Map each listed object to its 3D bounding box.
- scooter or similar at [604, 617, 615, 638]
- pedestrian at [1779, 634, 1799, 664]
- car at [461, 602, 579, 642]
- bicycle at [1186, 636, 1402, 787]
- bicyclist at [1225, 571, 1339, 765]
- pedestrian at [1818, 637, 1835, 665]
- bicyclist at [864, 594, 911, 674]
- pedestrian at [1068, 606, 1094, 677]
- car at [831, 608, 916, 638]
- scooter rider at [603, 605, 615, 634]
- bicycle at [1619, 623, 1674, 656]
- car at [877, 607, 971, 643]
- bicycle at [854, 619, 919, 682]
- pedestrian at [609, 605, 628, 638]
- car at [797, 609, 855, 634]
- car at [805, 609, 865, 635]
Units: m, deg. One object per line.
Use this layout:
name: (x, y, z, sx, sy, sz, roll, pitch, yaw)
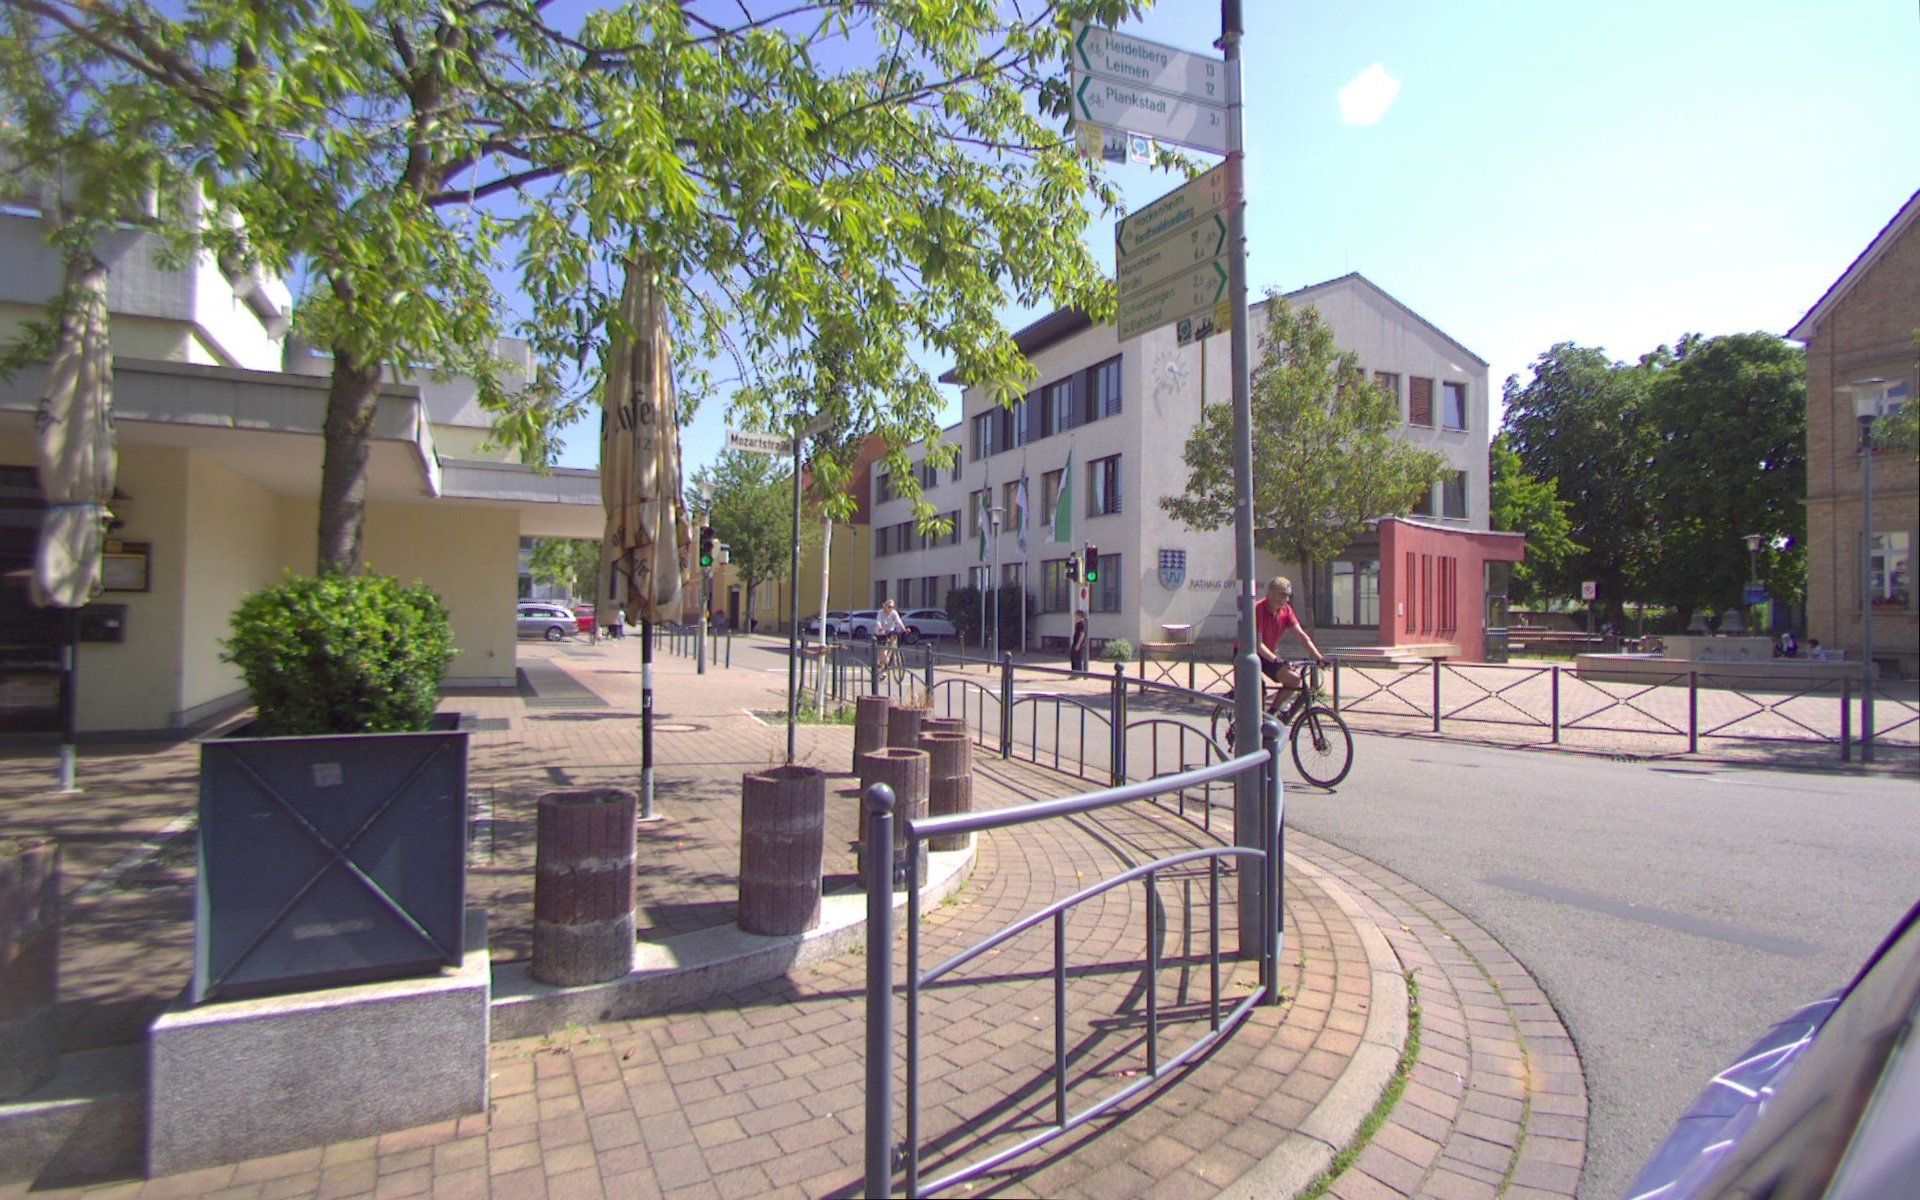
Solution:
scooter or similar: (-16.220, 1.267, 46.841, 0.403, 0.978, 0.961, 2, -2, -20)
pedestrian: (22.947, 1.358, 28.002, 0.355, 0.828, 0.367, 2, -2, -39)
car: (-18.397, 0.909, 42.397, 4.356, 1.484, 1.693, 3, -1, -28)
bicycle: (3.061, 0.979, 9.493, 0.723, 1.205, 1.974, 3, -2, -26)
bicyclist: (3.023, 0.605, 9.530, 0.689, 1.738, 0.761, 0, 0, -25)
pedestrian: (23.387, 1.373, 27.311, 0.351, 0.741, 0.289, 2, -2, -39)
bicyclist: (-1.498, 0.672, 20.743, 0.689, 1.601, 0.879, 0, 0, -25)
pedestrian: (2.877, 0.976, 24.060, 0.541, 1.639, 0.555, 1, 0, 12)
car: (-4.622, 1.184, 53.899, 4.237, 1.497, 1.516, -1, 0, -22)
scooter rider: (-16.217, 0.901, 46.800, 0.453, 1.342, 1.135, 2, -2, -21)
bicycle: (22.972, 1.311, 33.851, 1.913, 1.018, 0.581, -1, 0, -24)
car: (-1.643, 1.121, 46.170, 3.917, 1.567, 1.752, 0, -1, -24)
bicycle: (-1.525, 1.022, 20.773, 0.676, 1.205, 1.802, 2, -1, -26)
pedestrian: (-16.273, 1.012, 48.209, 0.504, 1.536, 1.047, 4, -3, -38)
car: (-8.032, 1.287, 60.512, 3.192, 1.419, 1.377, 0, -1, -24)
car: (-7.219, 1.252, 58.453, 3.075, 1.469, 1.645, 0, -1, -22)
